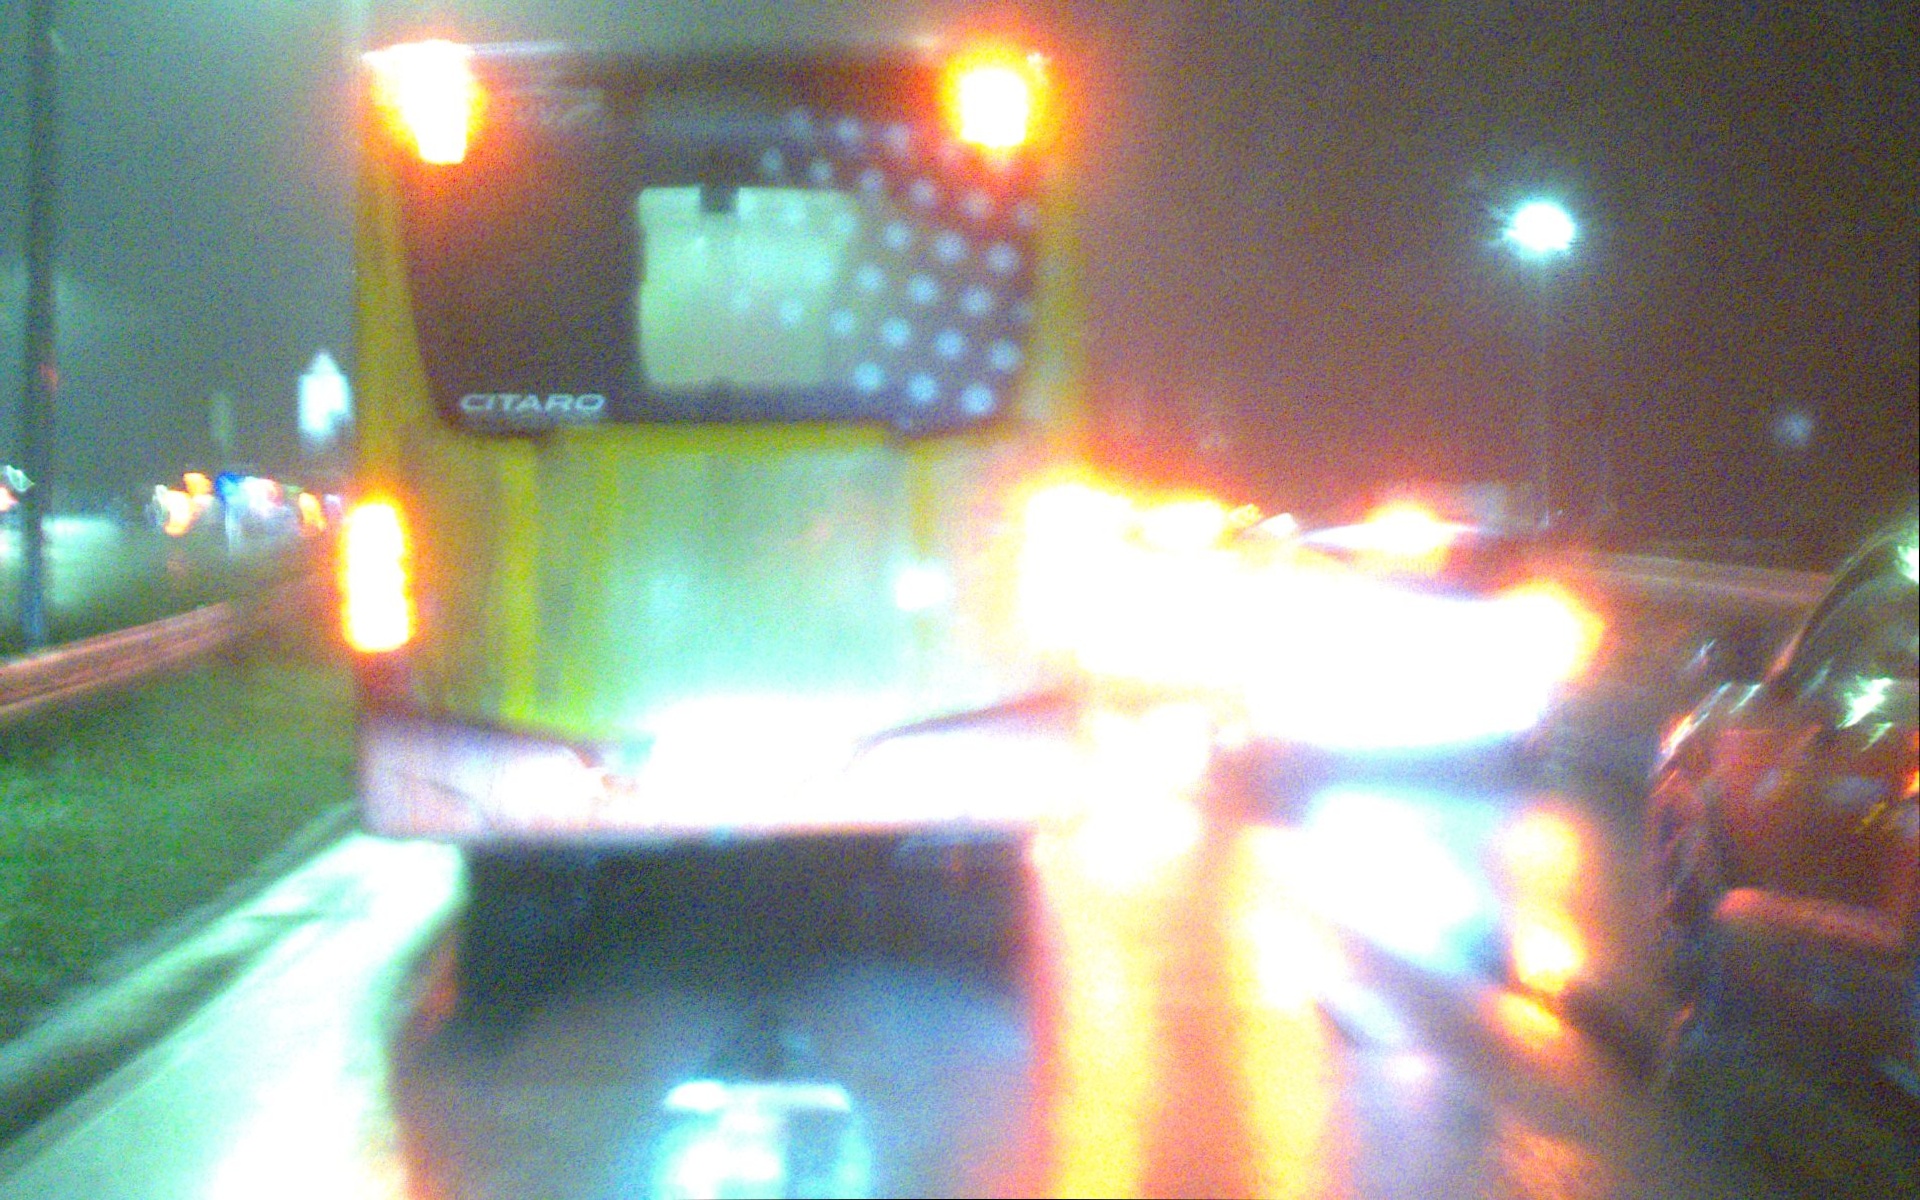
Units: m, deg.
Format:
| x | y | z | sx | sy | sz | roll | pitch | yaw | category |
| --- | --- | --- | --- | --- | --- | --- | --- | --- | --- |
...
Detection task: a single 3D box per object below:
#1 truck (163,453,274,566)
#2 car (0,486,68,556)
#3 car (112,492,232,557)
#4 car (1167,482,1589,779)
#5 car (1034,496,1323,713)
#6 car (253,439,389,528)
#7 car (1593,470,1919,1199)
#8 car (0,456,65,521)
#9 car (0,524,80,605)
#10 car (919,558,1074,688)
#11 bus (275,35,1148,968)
| x | y | z | sx | sy | sz | roll | pitch | yaw | category |
| --- | --- | --- | --- | --- | --- | --- | --- | --- | --- |
| -17.348 | -2.149 | 80.280 | 1.855 | 2.384 | 4.781 | -2 | 5 | -20 | truck |
| -28.211 | -2.332 | 101.377 | 2.212 | 2.007 | 3.999 | -1 | 2 | -39 | car |
| -20.704 | -1.984 | 90.252 | 1.751 | 1.625 | 3.623 | 1 | 1 | -36 | car |
| 2.360 | 0.117 | 20.334 | 1.819 | 1.585 | 3.777 | 0 | 1 | -3 | car |
| 1.651 | -0.012 | 27.162 | 1.819 | 1.585 | 3.777 | 0 | 1 | -3 | car |
| -15.315 | -2.762 | 82.258 | 1.993 | 2.007 | 4.001 | 1 | 1 | -29 | car |
| 2.869 | 0.497 | 8.298 | 1.739 | 1.559 | 3.777 | 1 | 1 | -4 | car |
| -30.431 | -3.630 | 112.356 | 2.120 | 2.007 | 4.001 | 1 | 1 | -13 | car |
| -23.696 | -0.914 | 87.539 | 1.993 | 2.007 | 4.001 | 0 | 1 | -22 | car |
| 0.429 | 0.260 | 44.297 | 1.779 | 1.538 | 3.875 | 1 | 1 | -2 | car |
| -0.971 | -0.411 | 15.622 | 2.815 | 3.013 | 8.688 | 1 | 1 | -2 | bus |
